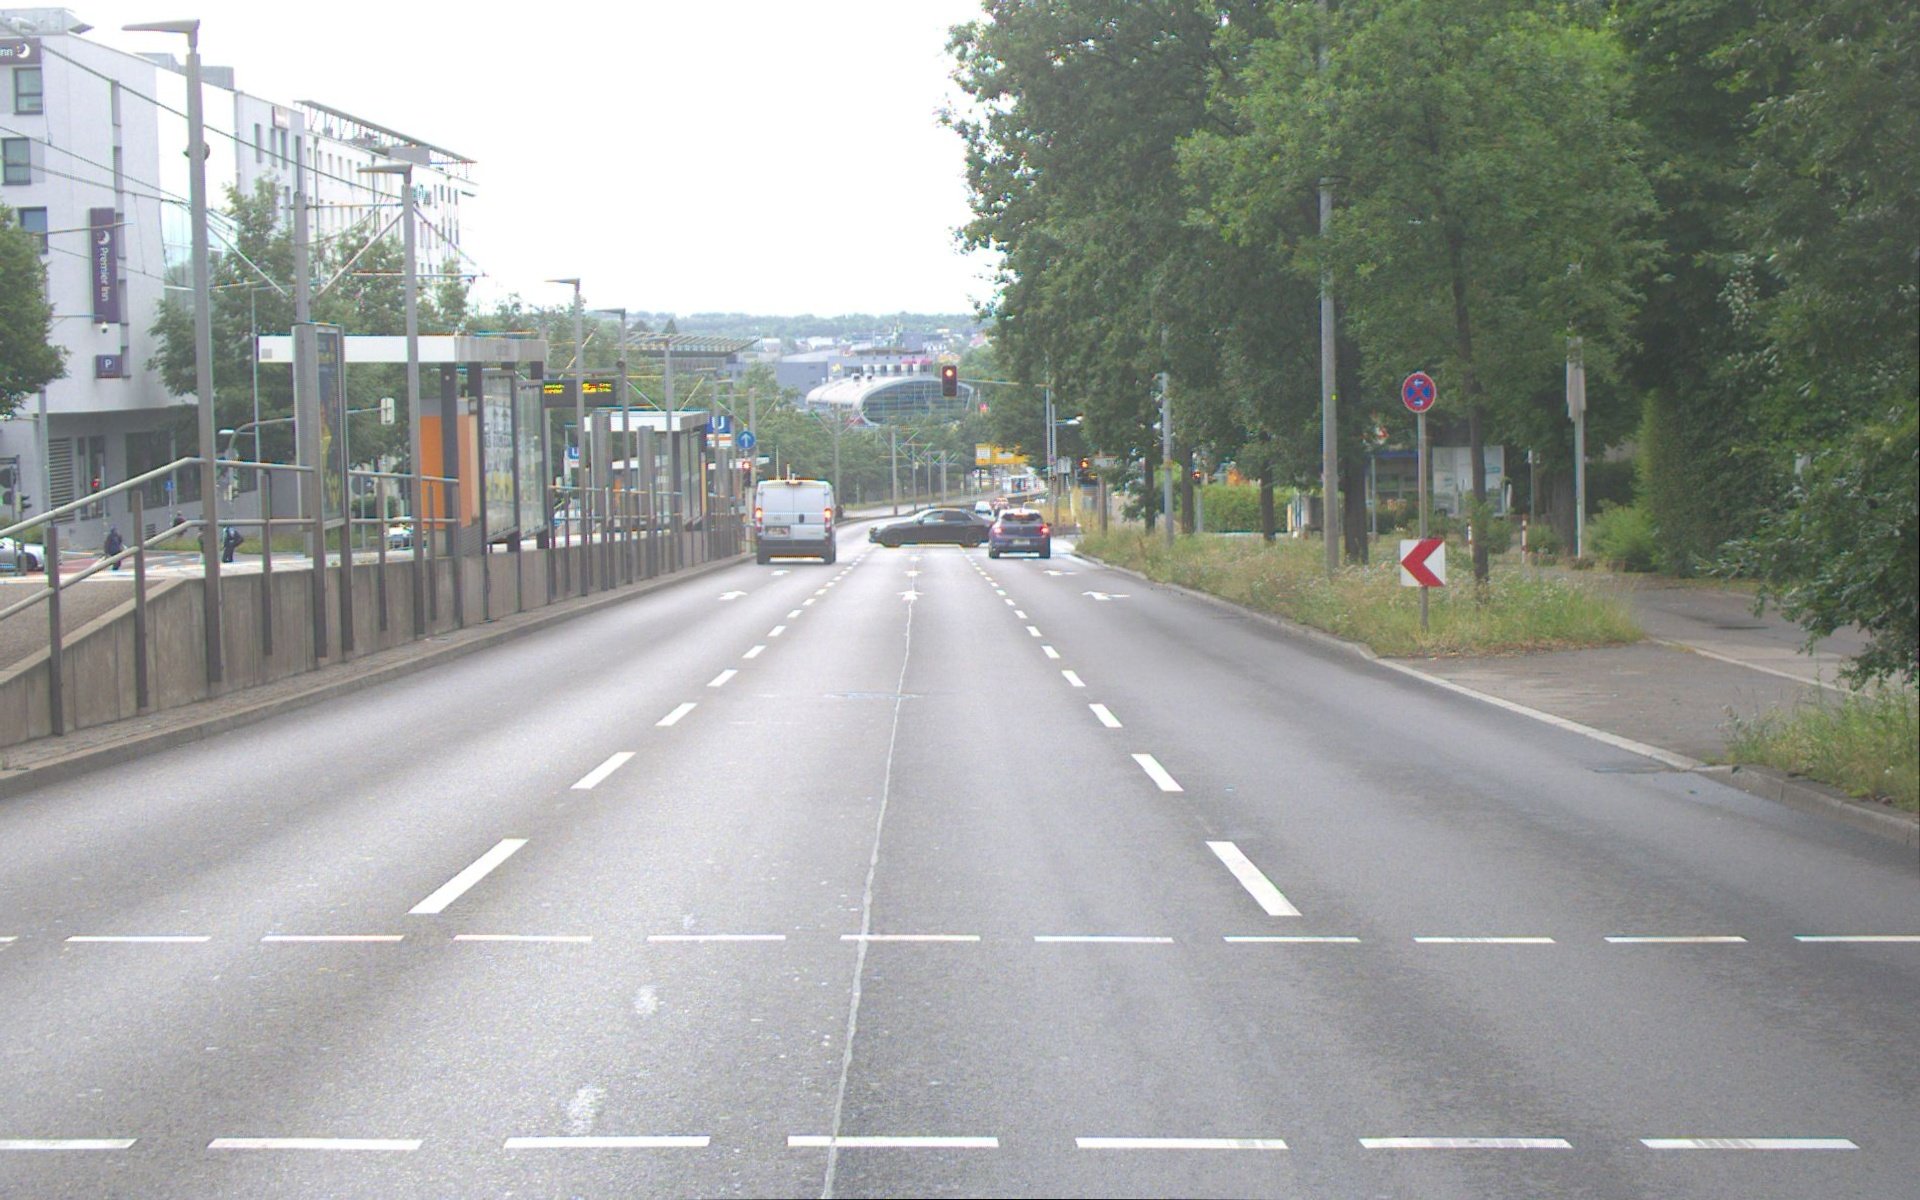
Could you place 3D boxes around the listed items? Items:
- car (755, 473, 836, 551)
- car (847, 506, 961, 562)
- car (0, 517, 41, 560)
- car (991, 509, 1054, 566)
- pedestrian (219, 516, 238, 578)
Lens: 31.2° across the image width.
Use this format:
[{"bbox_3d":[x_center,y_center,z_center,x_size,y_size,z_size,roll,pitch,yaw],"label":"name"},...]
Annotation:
[{"bbox_3d":[-4.415,-2.378,93.063,2.093,2.046,4.607,0,2,-2],"label":"car"},{"bbox_3d":[-2.051,-2.416,125.328,3.986,2.007,1.760,0,1,-8],"label":"car"},{"bbox_3d":[-34.241,-2.086,119.817,3.867,1.431,1.656,-2,1,4],"label":"car"},{"bbox_3d":[1.845,-1.881,102.638,1.774,1.685,3.846,0,2,-1],"label":"car"},{"bbox_3d":[-22.498,-1.638,105.789,0.475,1.914,0.490,0,1,-1],"label":"pedestrian"}]
